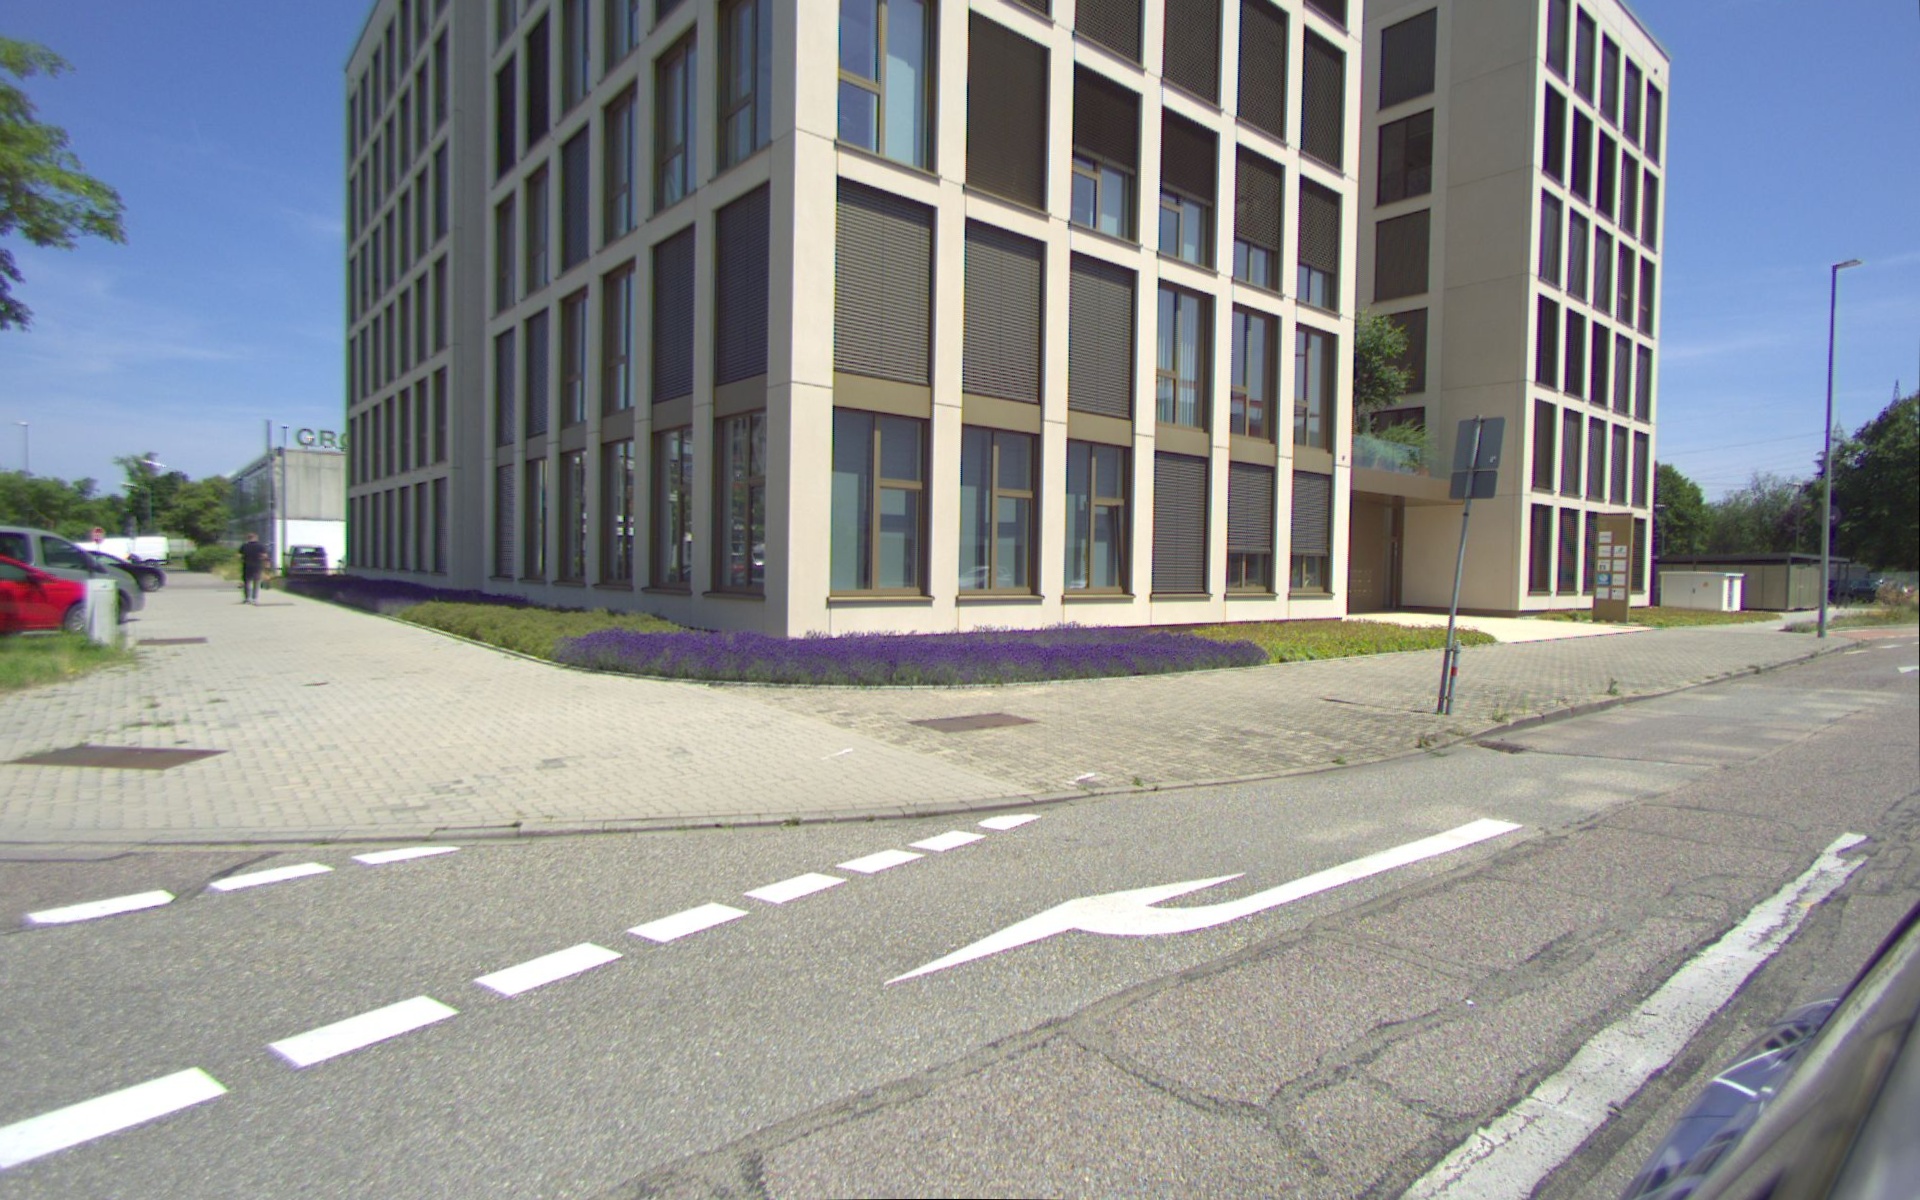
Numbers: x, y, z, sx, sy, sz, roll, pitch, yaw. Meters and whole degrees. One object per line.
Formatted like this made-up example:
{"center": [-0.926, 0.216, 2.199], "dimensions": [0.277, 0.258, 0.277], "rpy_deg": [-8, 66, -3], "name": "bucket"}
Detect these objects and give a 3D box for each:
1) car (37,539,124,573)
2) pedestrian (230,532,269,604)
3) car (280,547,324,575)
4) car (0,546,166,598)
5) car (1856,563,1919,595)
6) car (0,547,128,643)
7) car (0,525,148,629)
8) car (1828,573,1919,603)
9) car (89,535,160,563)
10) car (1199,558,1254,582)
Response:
{"center": [-54.961, -2.716, 63.336], "dimensions": [3.925, 2.038, 2.000], "rpy_deg": [0, 2, -36], "name": "car"}
{"center": [-18.837, -0.865, 26.848], "dimensions": [0.758, 1.867, 0.869], "rpy_deg": [-1, 3, -32], "name": "pedestrian"}
{"center": [-37.898, -2.278, 58.233], "dimensions": [1.758, 1.540, 3.574], "rpy_deg": [-1, 3, -39], "name": "car"}
{"center": [-29.195, -0.976, 33.591], "dimensions": [1.792, 1.557, 4.131], "rpy_deg": [0, 3, 19], "name": "car"}
{"center": [59.207, -1.310, 63.543], "dimensions": [3.958, 1.977, 1.984], "rpy_deg": [2, 2, 25], "name": "car"}
{"center": [-15.417, -0.084, 15.585], "dimensions": [1.584, 1.452, 3.991], "rpy_deg": [1, 2, 9], "name": "car"}
{"center": [-17.786, -0.454, 18.447], "dimensions": [1.676, 1.837, 4.899], "rpy_deg": [3, 3, 7], "name": "car"}
{"center": [55.706, -0.732, 61.563], "dimensions": [3.960, 1.682, 1.822], "rpy_deg": [2, 3, 26], "name": "car"}
{"center": [-67.525, -4.123, 81.873], "dimensions": [4.280, 2.146, 2.094], "rpy_deg": [0, 2, -37], "name": "car"}
{"center": [21.121, -2.372, 80.287], "dimensions": [3.921, 1.874, 2.002], "rpy_deg": [0, 2, -31], "name": "car"}
